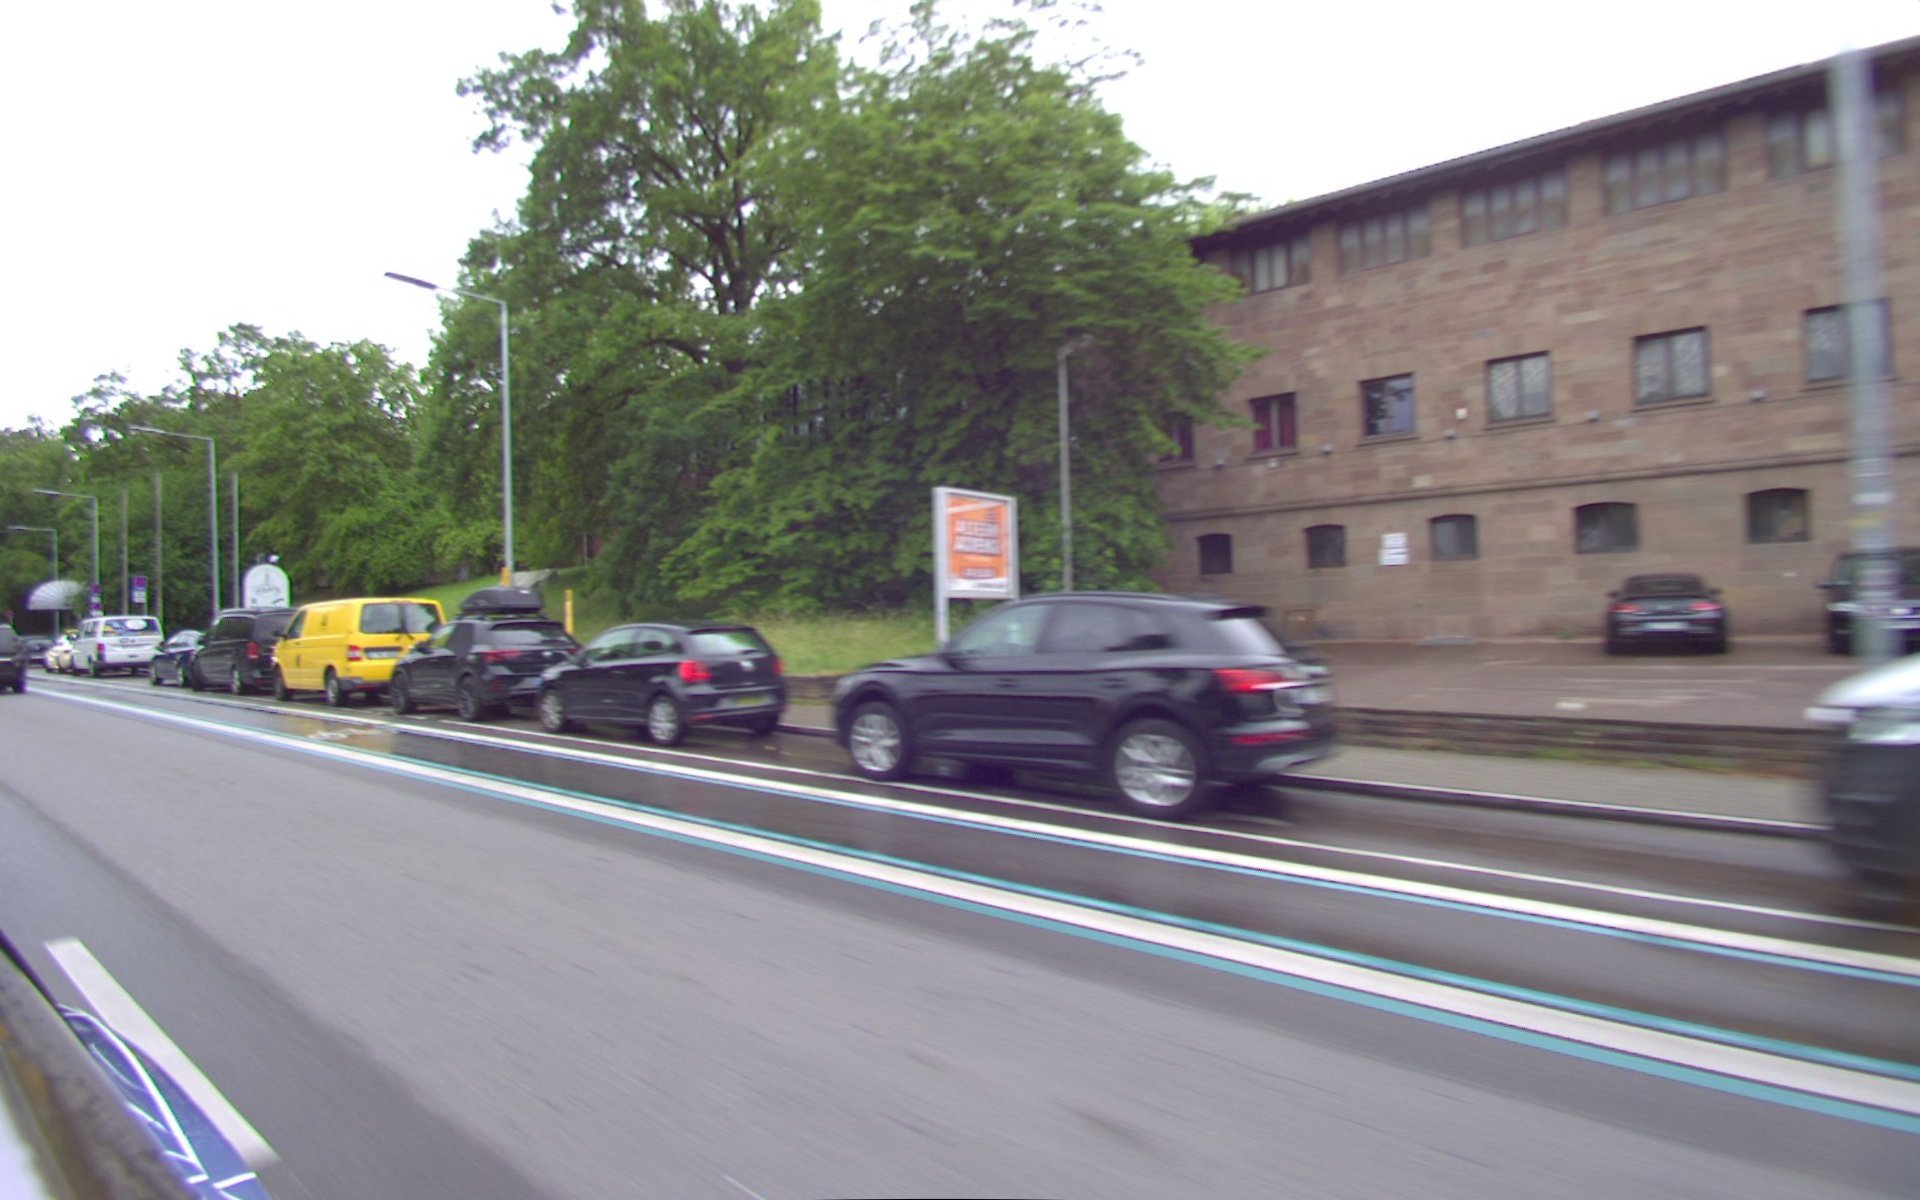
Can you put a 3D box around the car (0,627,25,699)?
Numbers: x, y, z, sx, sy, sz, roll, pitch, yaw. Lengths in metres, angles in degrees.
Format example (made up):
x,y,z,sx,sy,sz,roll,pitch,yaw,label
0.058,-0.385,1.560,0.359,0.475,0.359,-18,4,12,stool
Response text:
x,y,z,sx,sy,sz,roll,pitch,yaw,label
-23.542,1.477,23.843,4.147,1.630,1.693,-3,-4,40,car

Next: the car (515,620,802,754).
x,y,z,sx,sy,sz,roll,pitch,yaw,label
-3.965,1.020,12.955,4.035,1.457,1.591,-2,-2,40,car

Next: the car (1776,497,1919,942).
x,y,z,sx,sy,sz,roll,pitch,yaw,label
6.398,0.444,3.643,5.227,1.929,1.957,-3,-2,43,car

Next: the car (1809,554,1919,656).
x,y,z,sx,sy,sz,roll,pitch,yaw,label
15.746,0.008,16.970,2.188,1.490,4.724,-3,0,39,car

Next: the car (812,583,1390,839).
x,y,z,sx,sy,sz,roll,pitch,yaw,label
0.972,0.792,8.671,4.659,1.628,1.805,-2,-2,40,car

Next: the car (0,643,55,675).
x,y,z,sx,sy,sz,roll,pitch,yaw,label
-42.481,2.664,45.936,3.583,1.382,1.658,-2,-2,41,car

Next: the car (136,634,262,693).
x,y,z,sx,sy,sz,roll,pitch,yaw,label
-20.751,1.696,27.527,4.606,1.470,1.667,-2,-3,39,car

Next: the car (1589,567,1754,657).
x,y,z,sx,sy,sz,roll,pitch,yaw,label
13.266,0.163,18.859,2.259,1.443,4.264,-1,1,37,car

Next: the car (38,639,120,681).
x,y,z,sx,sy,sz,roll,pitch,yaw,label
-33.197,2.216,38.079,4.592,1.459,1.709,-2,-2,41,car

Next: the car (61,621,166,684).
x,y,z,sx,sy,sz,roll,pitch,yaw,label
-28.642,1.753,34.184,4.730,1.992,1.854,-2,-2,39,car

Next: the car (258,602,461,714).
x,y,z,sx,sy,sz,roll,pitch,yaw,label
-11.835,1.076,19.813,4.841,1.928,1.973,-2,-2,40,car

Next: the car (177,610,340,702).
x,y,z,sx,sy,sz,roll,pitch,yaw,label
-16.560,1.283,23.775,5.200,1.935,1.857,-2,-3,40,car

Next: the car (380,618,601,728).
x,y,z,sx,sy,sz,roll,pitch,yaw,label
-7.555,1.093,16.092,4.148,1.516,1.691,-2,-2,42,car
